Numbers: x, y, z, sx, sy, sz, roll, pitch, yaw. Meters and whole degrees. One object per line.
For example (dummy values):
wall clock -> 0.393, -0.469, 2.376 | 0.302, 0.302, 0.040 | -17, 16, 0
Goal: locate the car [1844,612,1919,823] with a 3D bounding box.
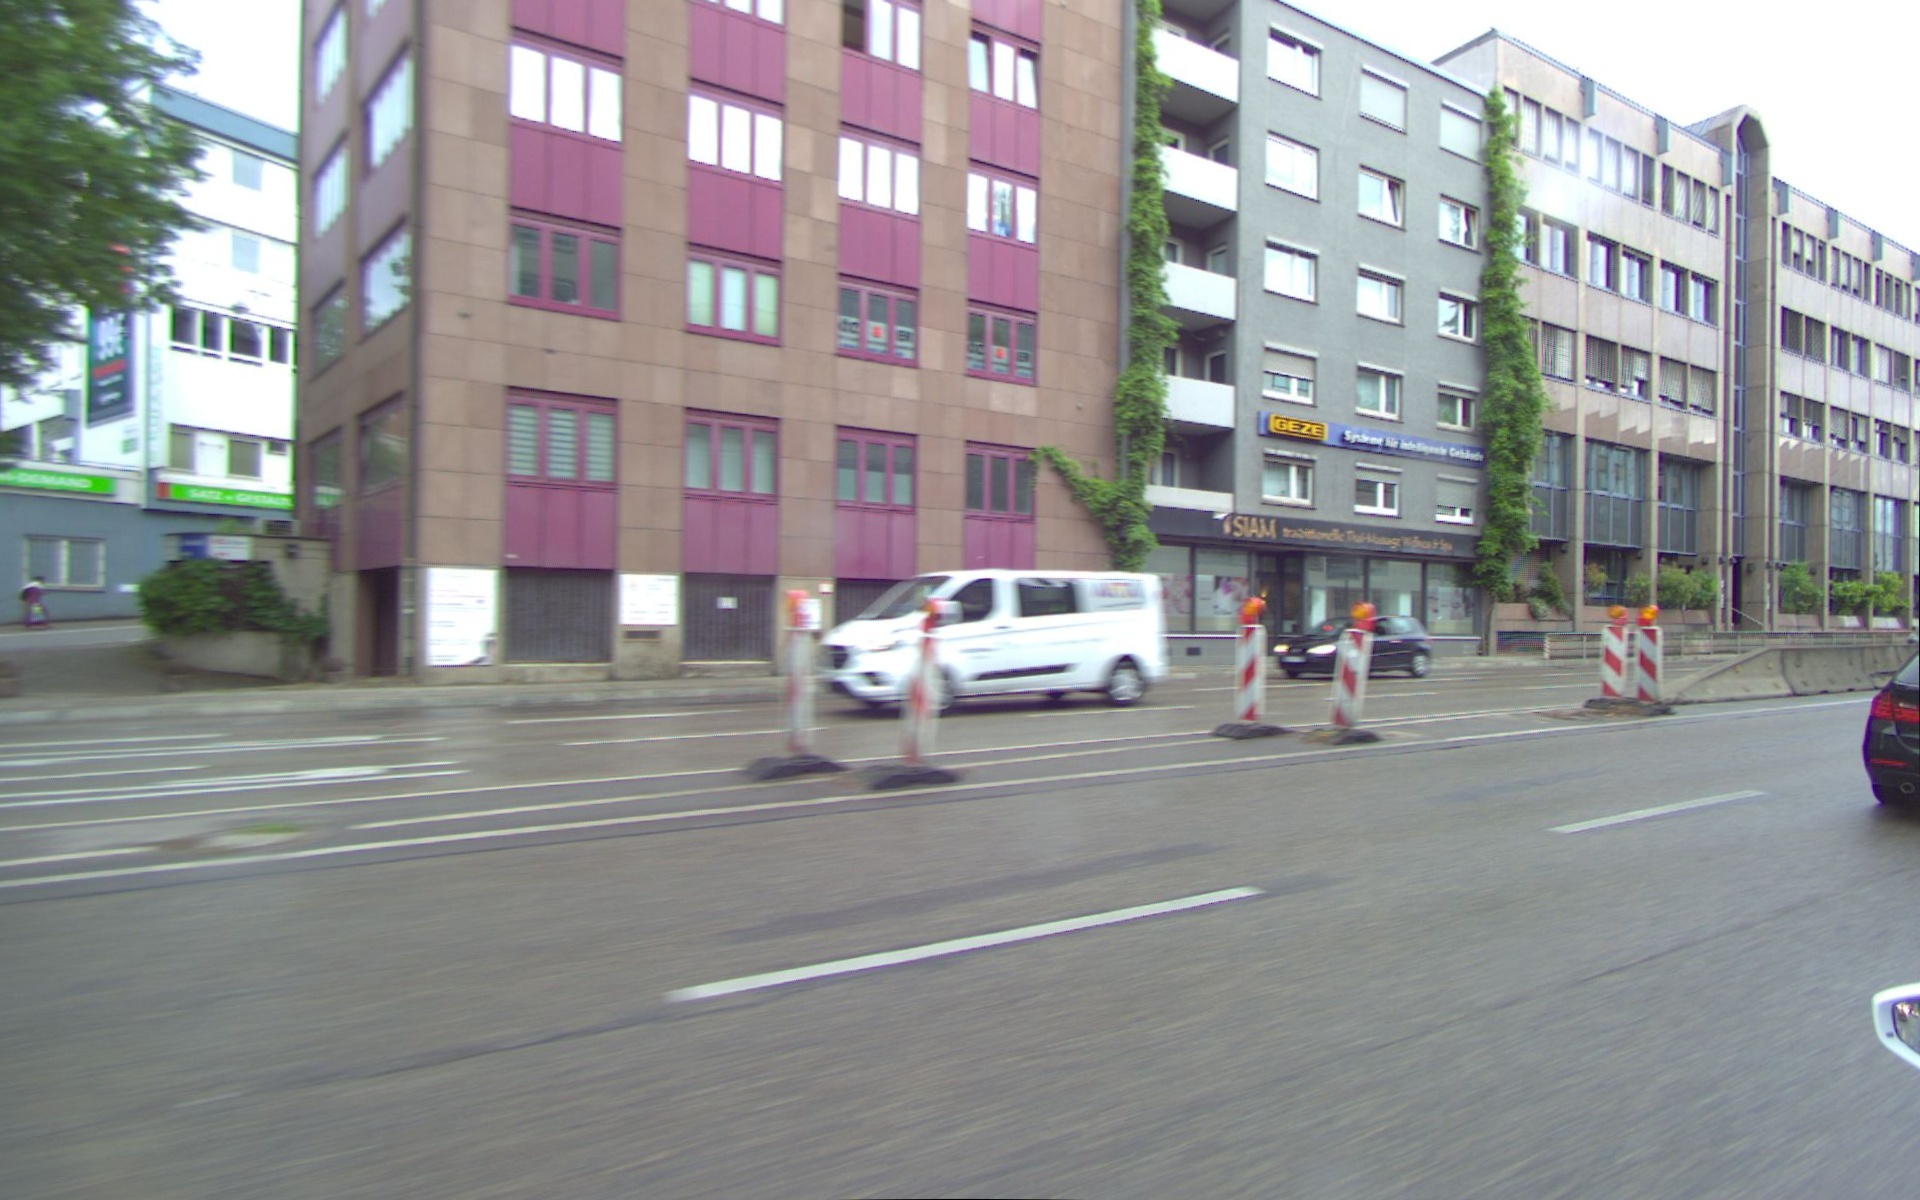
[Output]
car -> 8.790, 0.820, 7.735 | 4.562, 1.445, 1.781 | 0, 0, -32

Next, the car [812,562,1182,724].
car -> 0.630, 0.591, 14.743 | 5.228, 2.016, 1.984 | 1, -1, -31

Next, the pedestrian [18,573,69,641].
pedestrian -> -28.236, 0.223, 30.962 | 0.827, 2.040, 0.979 | -1, -1, 33

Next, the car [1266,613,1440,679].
car -> 9.150, 1.023, 23.352 | 3.973, 1.418, 1.691 | 1, -1, -30

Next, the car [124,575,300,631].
car -> -24.202, 0.069, 32.650 | 1.808, 1.483, 4.163 | -1, 3, 34

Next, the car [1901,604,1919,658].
car -> 33.948, 1.037, 34.136 | 4.373, 1.793, 1.713 | 1, -1, -30
